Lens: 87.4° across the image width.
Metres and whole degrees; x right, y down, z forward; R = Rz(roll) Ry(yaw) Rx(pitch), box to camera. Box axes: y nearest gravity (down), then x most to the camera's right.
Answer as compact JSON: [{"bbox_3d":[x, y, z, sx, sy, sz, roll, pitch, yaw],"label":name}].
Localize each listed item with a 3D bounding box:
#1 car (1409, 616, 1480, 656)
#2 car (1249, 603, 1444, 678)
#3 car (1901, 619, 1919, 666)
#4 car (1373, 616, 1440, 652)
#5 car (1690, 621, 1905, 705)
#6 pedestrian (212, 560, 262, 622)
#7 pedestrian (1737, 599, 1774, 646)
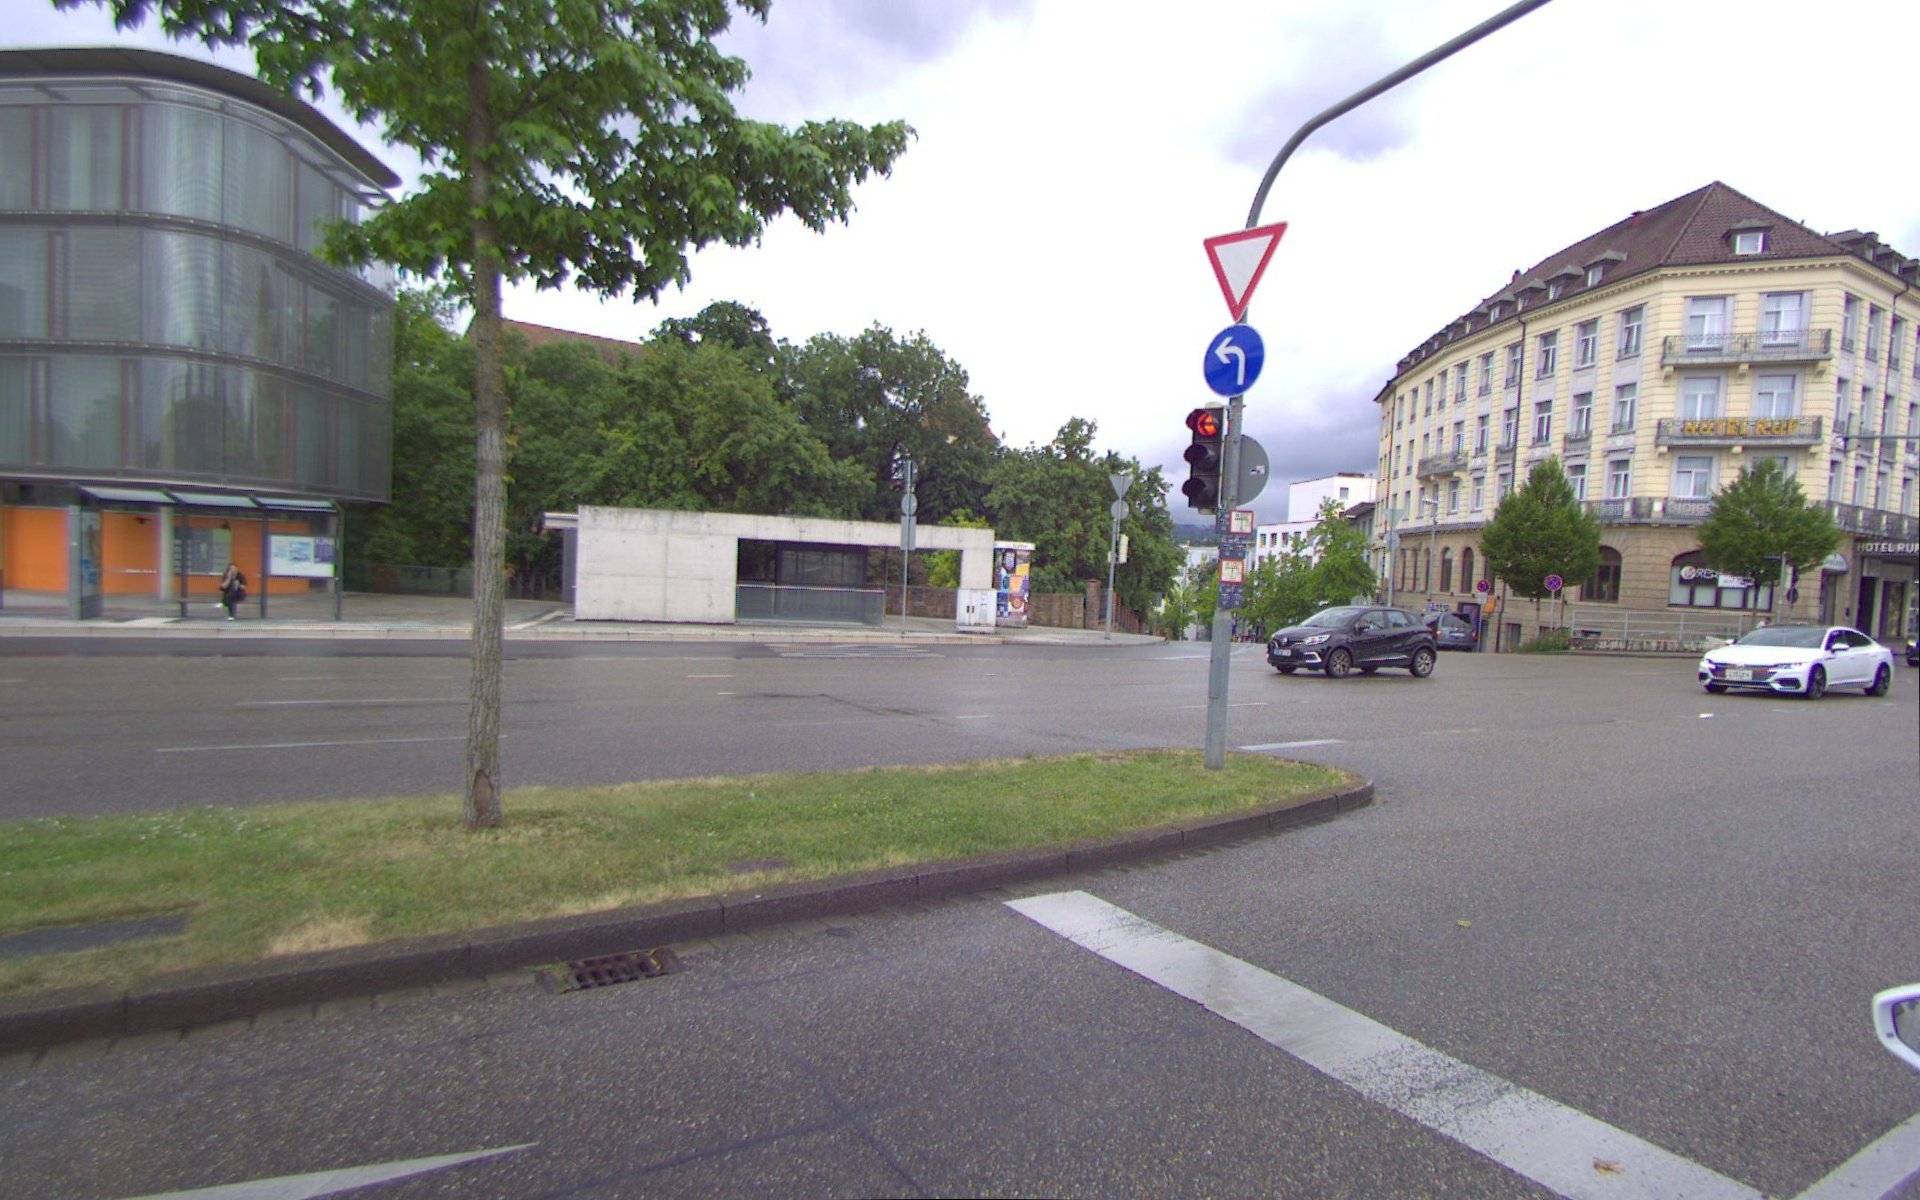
[{"bbox_3d":[21.729,1.577,45.186,1.764,1.589,4.002,2,1,9],"label":"car"},{"bbox_3d":[8.703,0.904,22.627,4.022,1.551,1.767,2,0,-24],"label":"car"},{"bbox_3d":[32.560,1.363,32.799,3.979,1.496,1.623,1,-2,-31],"label":"car"},{"bbox_3d":[22.902,1.719,51.693,1.959,1.662,4.002,2,0,6],"label":"car"},{"bbox_3d":[17.083,1.204,20.444,4.799,1.400,1.717,0,2,-29],"label":"car"},{"bbox_3d":[-16.091,-0.195,22.381,0.780,1.341,0.798,1,1,-28],"label":"pedestrian"},{"bbox_3d":[33.027,0.945,41.718,1.010,1.903,0.859,1,1,-30],"label":"pedestrian"}]
